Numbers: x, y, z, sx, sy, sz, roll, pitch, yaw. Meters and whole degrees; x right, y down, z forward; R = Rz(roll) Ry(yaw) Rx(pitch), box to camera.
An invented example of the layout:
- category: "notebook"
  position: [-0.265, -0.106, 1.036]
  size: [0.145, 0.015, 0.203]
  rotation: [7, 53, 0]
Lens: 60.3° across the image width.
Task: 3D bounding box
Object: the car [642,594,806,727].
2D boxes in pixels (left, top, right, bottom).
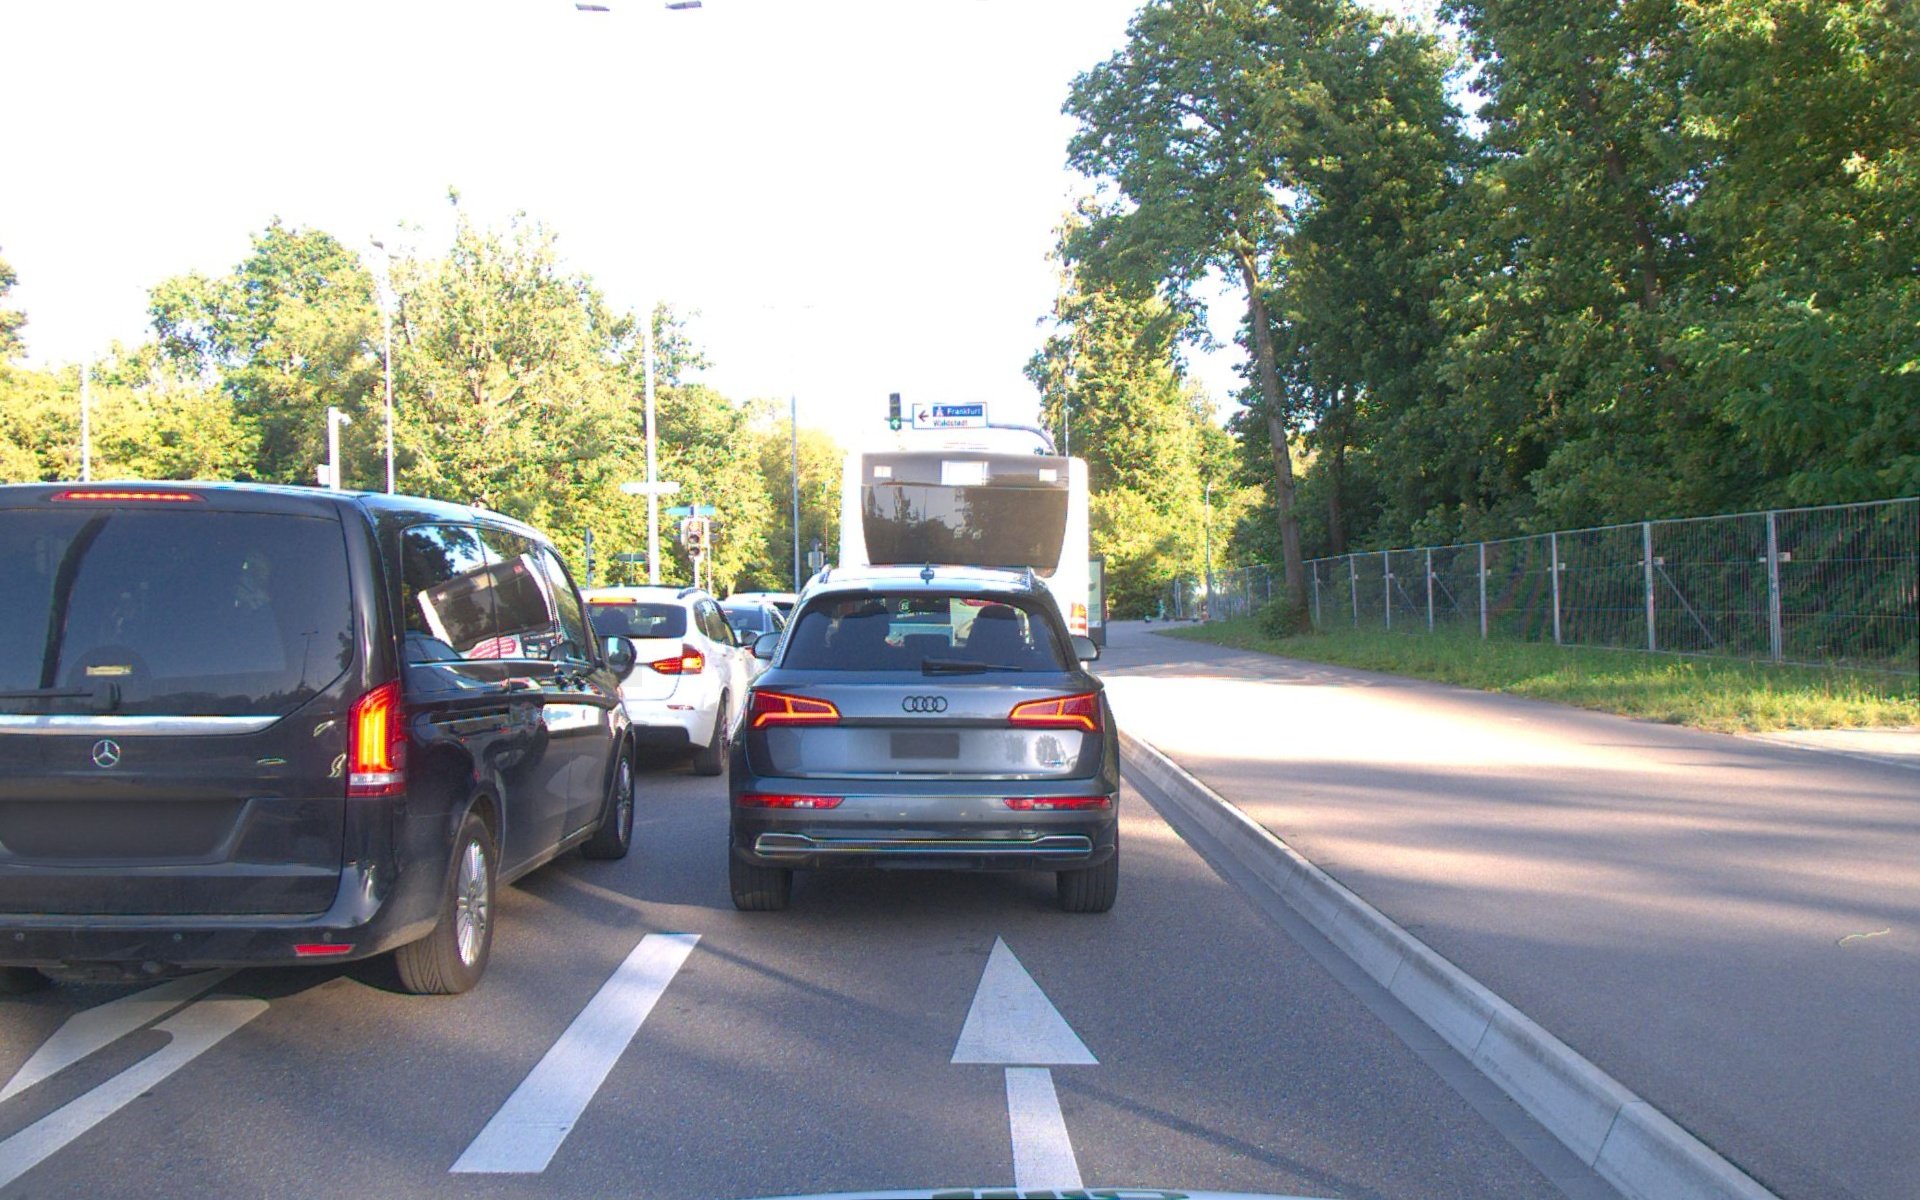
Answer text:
- category: "car"
  position: [-2.919, 0.694, 21.245]
  size: [1.750, 1.469, 4.275]
  rotation: [1, 1, -4]

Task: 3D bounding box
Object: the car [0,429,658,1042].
- category: "car"
  position: [-2.739, 0.425, 7.572]
  size: [1.868, 1.888, 4.872]
  rotation: [1, 0, -1]

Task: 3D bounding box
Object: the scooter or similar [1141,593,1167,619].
- category: "scooter or similar"
  position: [9.174, 0.283, 78.035]
  size: [1.158, 1.195, 0.659]
  rotation: [1, 0, 11]

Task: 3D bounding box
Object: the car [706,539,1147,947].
- category: "car"
  position: [-0.168, 0.579, 8.963]
  size: [1.830, 1.693, 4.000]
  rotation: [1, 1, -1]

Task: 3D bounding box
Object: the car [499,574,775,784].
- category: "car"
  position: [-2.766, 0.611, 15.110]
  size: [1.683, 1.608, 4.433]
  rotation: [1, 0, -1]

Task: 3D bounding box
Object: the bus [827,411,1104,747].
- category: "bus"
  position: [0.079, -0.242, 18.891]
  size: [2.623, 3.196, 5.882]
  rotation: [1, 1, 0]

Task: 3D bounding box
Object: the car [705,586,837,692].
- category: "car"
  position: [-3.080, 0.594, 27.661]
  size: [1.771, 1.599, 4.000]
  rotation: [1, 1, -1]
